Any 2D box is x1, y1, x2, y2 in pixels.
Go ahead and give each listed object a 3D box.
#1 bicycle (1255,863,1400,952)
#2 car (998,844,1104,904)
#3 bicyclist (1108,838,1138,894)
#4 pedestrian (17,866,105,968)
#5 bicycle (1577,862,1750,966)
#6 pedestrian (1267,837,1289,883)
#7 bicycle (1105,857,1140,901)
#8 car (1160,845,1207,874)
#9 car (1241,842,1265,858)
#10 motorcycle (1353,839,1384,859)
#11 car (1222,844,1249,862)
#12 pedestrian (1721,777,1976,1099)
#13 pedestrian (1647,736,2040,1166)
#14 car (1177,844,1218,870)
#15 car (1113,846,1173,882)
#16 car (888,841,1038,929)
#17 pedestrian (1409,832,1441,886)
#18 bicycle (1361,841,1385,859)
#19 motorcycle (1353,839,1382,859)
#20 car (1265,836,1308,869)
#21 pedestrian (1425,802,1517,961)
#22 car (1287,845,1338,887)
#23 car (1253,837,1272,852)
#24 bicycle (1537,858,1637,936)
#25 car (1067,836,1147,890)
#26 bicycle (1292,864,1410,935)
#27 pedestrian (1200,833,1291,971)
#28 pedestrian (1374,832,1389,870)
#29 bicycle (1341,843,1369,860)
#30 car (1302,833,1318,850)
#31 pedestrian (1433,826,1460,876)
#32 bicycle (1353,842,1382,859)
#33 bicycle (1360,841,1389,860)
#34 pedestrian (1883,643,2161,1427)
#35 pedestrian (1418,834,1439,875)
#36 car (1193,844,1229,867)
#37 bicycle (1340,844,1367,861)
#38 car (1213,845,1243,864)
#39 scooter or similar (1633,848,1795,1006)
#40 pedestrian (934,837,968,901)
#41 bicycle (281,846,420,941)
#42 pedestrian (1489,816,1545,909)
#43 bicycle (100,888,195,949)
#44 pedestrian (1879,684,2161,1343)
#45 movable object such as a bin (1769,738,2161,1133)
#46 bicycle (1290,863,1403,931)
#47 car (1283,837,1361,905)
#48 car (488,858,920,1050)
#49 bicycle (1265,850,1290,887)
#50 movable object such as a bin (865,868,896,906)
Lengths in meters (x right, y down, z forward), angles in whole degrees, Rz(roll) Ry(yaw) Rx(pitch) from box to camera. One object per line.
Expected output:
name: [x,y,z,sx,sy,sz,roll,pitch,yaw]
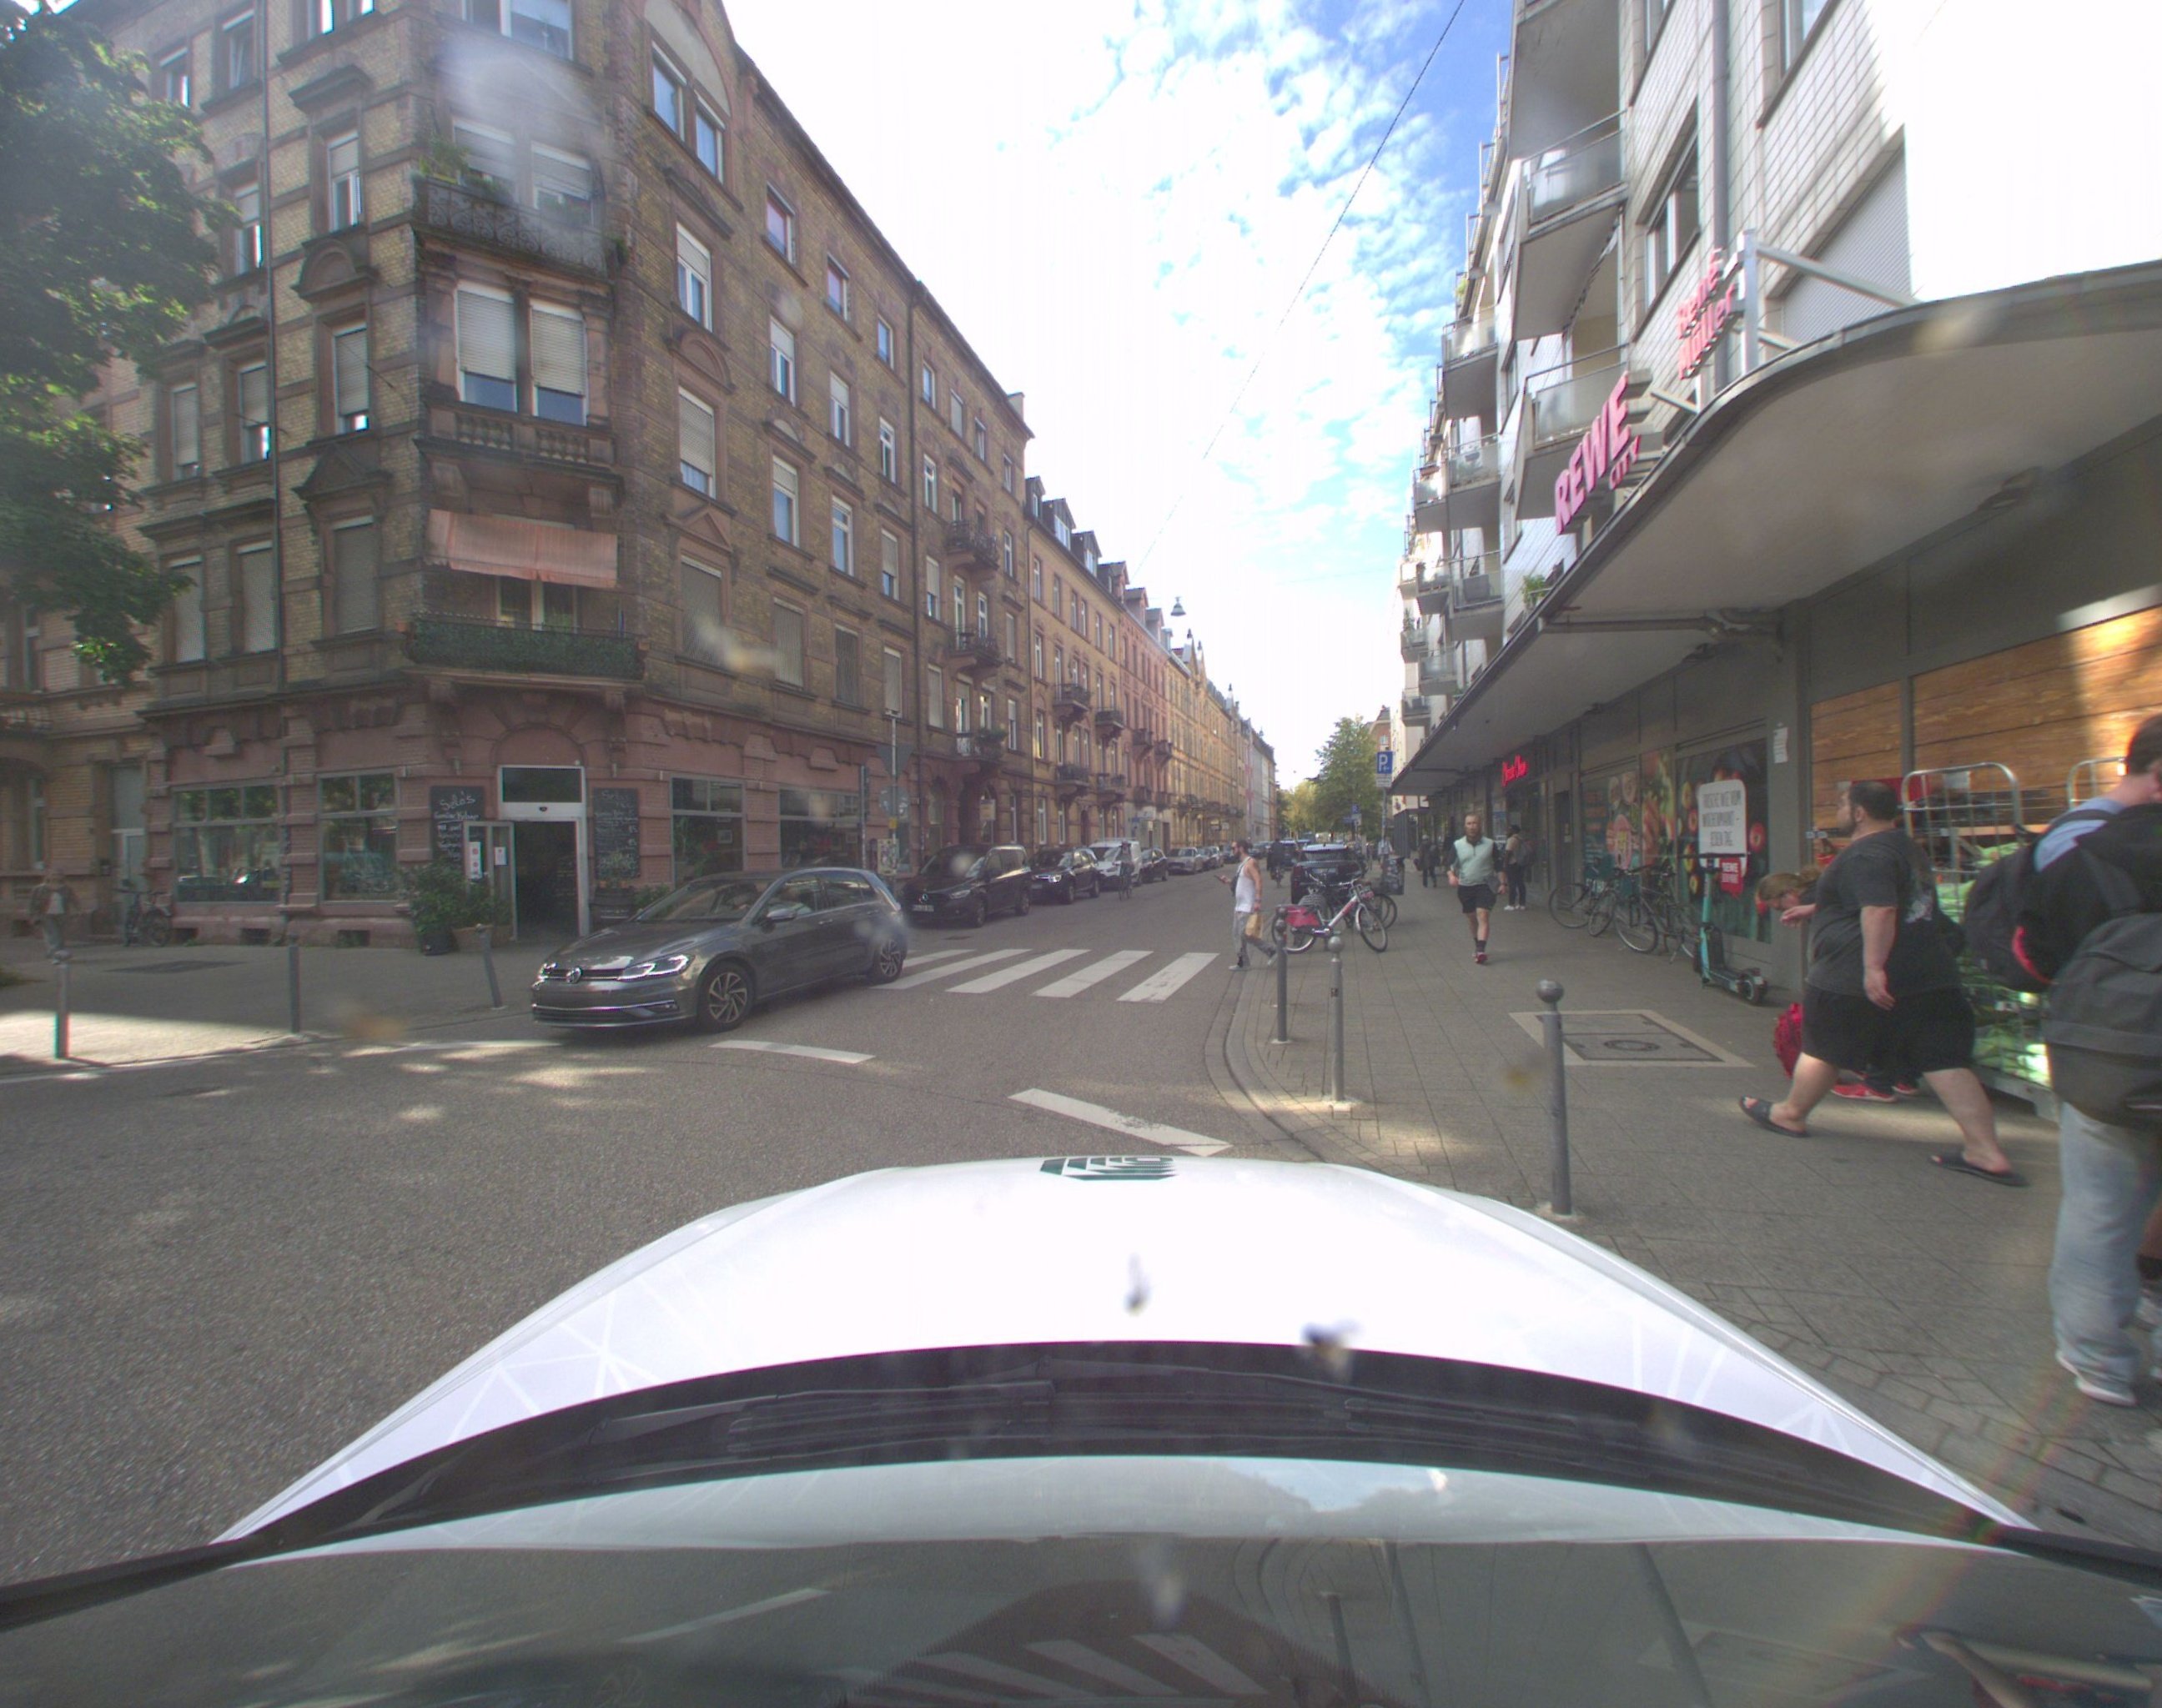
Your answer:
bicycle: [3.539,0.770,11.774,1.868,1.125,0.911,-4,0,16]
car: [-0.806,0.558,25.116,1.978,1.638,4.164,0,1,17]
bicyclist: [1.297,0.366,25.077,0.696,1.677,1.116,-2,0,13]
pedestrian: [-16.804,1.007,13.422,0.800,1.577,0.619,0,4,23]
bicycle: [6.548,0.629,9.284,0.674,1.043,1.733,-2,-1,-1]
pedestrian: [7.263,0.214,29.966,0.712,1.650,0.935,0,1,19]
bicycle: [1.299,0.739,25.035,0.696,1.220,2.124,-2,1,13]
car: [5.689,0.268,44.807,1.727,1.483,4.003,0,1,19]
car: [16.330,-0.365,77.371,1.676,1.369,3.886,3,2,19]
motorcycle: [22.325,-0.363,63.278,2.131,1.434,0.769,-3,0,22]
car: [12.847,-0.138,67.685,1.676,1.437,3.886,0,1,19]
pedestrian: [4.228,0.441,4.560,0.716,1.632,0.715,-4,0,16]
pedestrian: [3.519,0.410,3.905,0.845,1.746,1.051,-4,0,7]
car: [7.090,0.169,49.236,1.727,1.483,4.003,0,1,19]
car: [2.792,0.399,35.842,1.728,1.483,4.002,1,1,17]
car: [-2.605,0.604,19.146,1.746,1.773,4.426,1,2,17]
pedestrian: [10.440,0.141,24.769,0.817,1.588,0.784,-2,0,20]
bicycle: [20.097,-0.305,56.135,1.483,1.146,0.413,-4,0,18]
motorcycle: [23.275,-0.420,66.156,2.131,1.530,0.690,-3,0,22]
car: [11.387,-0.116,44.961,1.949,1.740,4.060,0,0,18]
pedestrian: [4.804,0.331,10.050,0.876,1.834,1.053,-4,-1,26]
car: [8.944,0.407,31.288,1.582,1.439,4.050,-2,1,19]
car: [19.983,-1.052,89.518,1.677,1.550,3.885,0,1,18]
bicycle: [7.437,0.599,12.062,0.736,1.015,1.790,-4,0,15]
car: [1.087,0.281,30.952,1.905,1.871,4.457,-1,1,17]
bicycle: [4.556,0.762,13.838,1.778,1.070,0.570,-3,1,8]
pedestrian: [2.119,0.588,10.430,1.011,1.671,0.808,-2,0,19]
pedestrian: [14.159,-0.149,38.355,0.607,1.726,1.132,-2,1,19]
bicycle: [18.536,-0.146,55.135,1.753,1.057,0.413,-4,0,13]
car: [27.422,-1.478,97.537,1.768,2.019,3.906,0,1,17]
pedestrian: [13.619,-0.108,30.374,0.648,1.860,0.701,-2,0,-43]
bicycle: [19.532,-0.237,55.491,1.750,1.087,0.653,-4,0,20]
bicycle: [19.616,-0.258,54.359,1.750,1.162,0.653,-4,0,20]
pedestrian: [2.700,0.406,2.121,0.717,1.797,0.626,-5,1,-31]
pedestrian: [13.807,0.026,32.356,0.638,1.588,0.784,-3,0,20]
car: [8.566,0.070,53.512,1.676,1.386,3.886,0,1,19]
bicycle: [20.260,-0.103,60.535,1.779,1.159,0.503,-4,0,21]
car: [11.188,-0.008,61.951,1.676,1.386,3.886,0,1,19]
scooter or similar: [5.436,0.586,7.081,0.627,1.213,1.261,-3,0,16]
pedestrian: [-3.818,0.432,23.988,0.672,1.840,0.860,1,1,12]
bicycle: [-12.187,0.664,13.591,2.143,1.521,0.559,-1,0,13]
pedestrian: [8.589,0.160,16.072,0.708,1.746,0.820,-4,0,16]
bicycle: [-17.704,1.201,15.451,1.763,1.067,0.531,0,0,18]
pedestrian: [3.068,0.429,2.516,0.636,1.797,0.706,-5,1,-39]
movable object such as a bin: [5.115,0.344,4.769,0.773,1.744,2.434,-1,0,18]
bicycle: [4.673,0.749,14.403,1.778,1.070,0.588,-3,1,8]
car: [6.650,0.396,22.219,1.778,1.605,3.943,-4,0,19]
car: [-3.546,0.834,8.578,1.777,1.438,4.020,-3,0,19]
bicycle: [7.241,0.517,29.900,0.712,1.274,1.893,0,1,19]
movable object such as a bin: [-3.859,0.631,15.682,0.380,0.714,0.477,0,1,14]
